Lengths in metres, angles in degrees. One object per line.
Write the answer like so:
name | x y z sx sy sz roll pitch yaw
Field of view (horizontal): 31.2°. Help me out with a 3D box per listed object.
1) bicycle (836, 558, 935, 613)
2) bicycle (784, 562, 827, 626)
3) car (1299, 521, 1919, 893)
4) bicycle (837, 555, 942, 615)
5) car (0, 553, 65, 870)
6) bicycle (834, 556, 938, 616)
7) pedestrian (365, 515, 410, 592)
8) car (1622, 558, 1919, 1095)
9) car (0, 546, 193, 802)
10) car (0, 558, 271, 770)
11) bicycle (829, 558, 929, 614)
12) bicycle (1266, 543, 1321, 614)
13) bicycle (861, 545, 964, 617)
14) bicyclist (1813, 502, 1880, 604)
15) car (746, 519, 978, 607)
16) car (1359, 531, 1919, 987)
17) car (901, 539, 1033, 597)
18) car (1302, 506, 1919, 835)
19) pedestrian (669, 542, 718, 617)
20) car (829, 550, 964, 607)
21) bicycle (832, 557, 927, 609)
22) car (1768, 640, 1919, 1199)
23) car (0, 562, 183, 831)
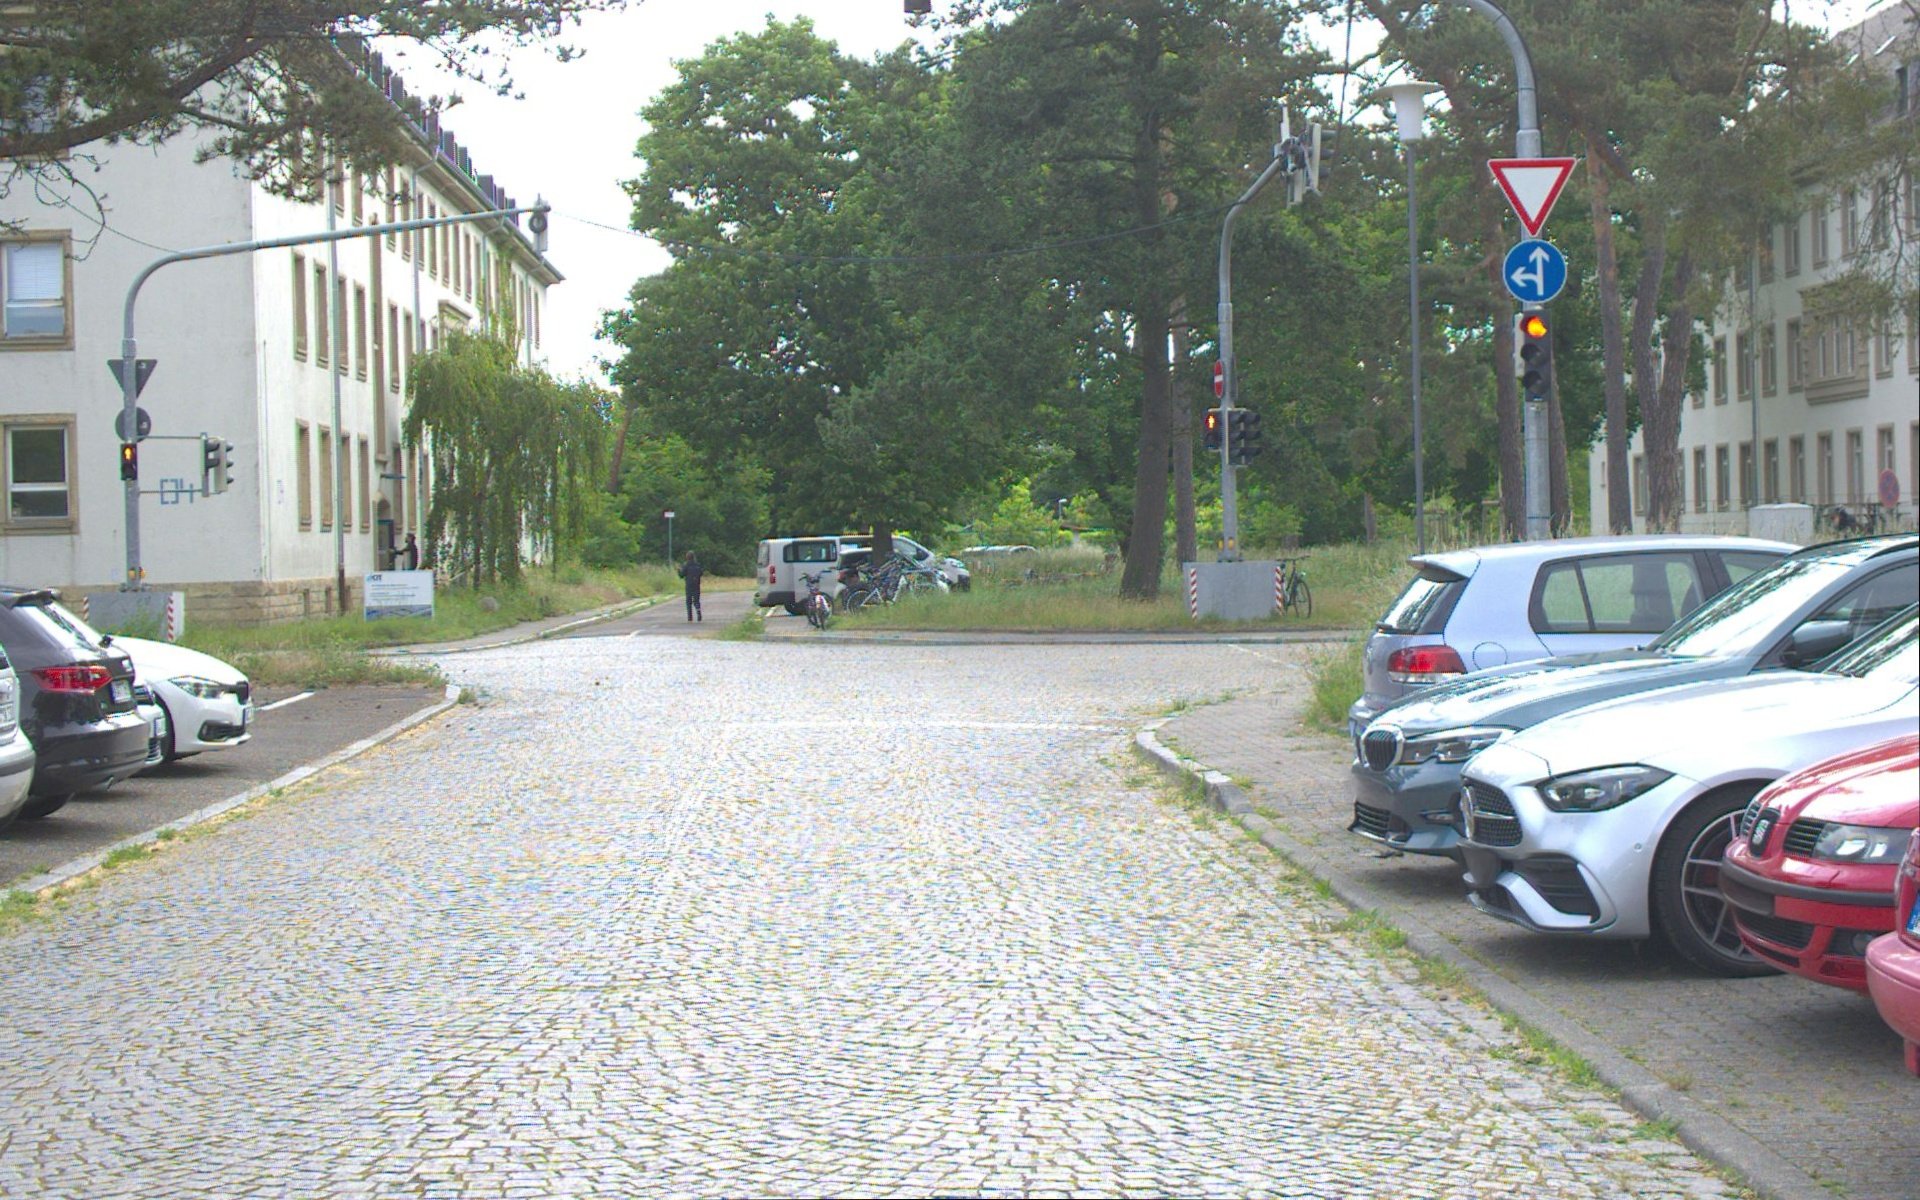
bicycle | -1.511 -0.298 69.997 1.955 1.066 0.588 -2 1 -31
bicycle | -2.848 -0.116 63.293 0.603 1.128 1.962 -1 1 -8
car | 4.023 0.377 15.370 4.680 1.412 1.871 -3 1 -4
bicycle | -1.363 -0.294 66.533 1.954 1.128 0.588 -1 1 -9
car | -6.394 0.471 16.713 3.702 1.474 1.583 1 1 -5
bicycle | -1.450 -0.280 67.164 1.954 1.113 0.588 -1 1 -9
pedestrian | -13.643 -1.106 81.910 0.774 1.831 0.741 -2 1 -33
car | 4.367 0.527 10.424 4.261 1.412 1.871 -3 1 -2
car | -7.062 0.414 22.079 3.947 1.558 1.650 1 1 -5
car | -7.068 0.408 24.617 3.947 1.416 1.650 2 1 -3
bicycle | -1.612 -0.277 68.644 1.955 1.066 0.588 -2 1 -31
bicycle | 5.286 -0.351 54.608 0.586 1.102 1.962 -1 1 -2
bicycle | -0.942 -0.382 68.009 1.954 1.379 0.588 -1 1 -9
bicyclist | 12.380 -0.654 48.010 0.749 1.405 0.605 -1 1 -2
car | -2.429 -0.919 84.589 5.359 1.918 2.025 -3 1 -11
car | 3.909 0.447 12.679 4.421 1.412 1.871 -3 1 -11
car | 0.162 -0.829 88.549 3.231 1.411 1.725 -1 1 -4
car | 3.854 0.313 17.818 3.927 1.472 1.642 -3 1 0
pedestrian | -5.788 -0.453 74.763 0.738 1.613 0.776 -2 1 -34
car | -1.514 -0.520 81.192 3.005 1.264 1.535 -1 1 -8
bicycle | -1.731 -0.366 73.678 1.955 1.066 0.588 -2 1 -26
car | 4.047 0.654 7.931 3.862 1.232 1.758 -3 1 -3
car | -6.394 0.483 19.312 3.745 1.424 1.583 1 1 -5
